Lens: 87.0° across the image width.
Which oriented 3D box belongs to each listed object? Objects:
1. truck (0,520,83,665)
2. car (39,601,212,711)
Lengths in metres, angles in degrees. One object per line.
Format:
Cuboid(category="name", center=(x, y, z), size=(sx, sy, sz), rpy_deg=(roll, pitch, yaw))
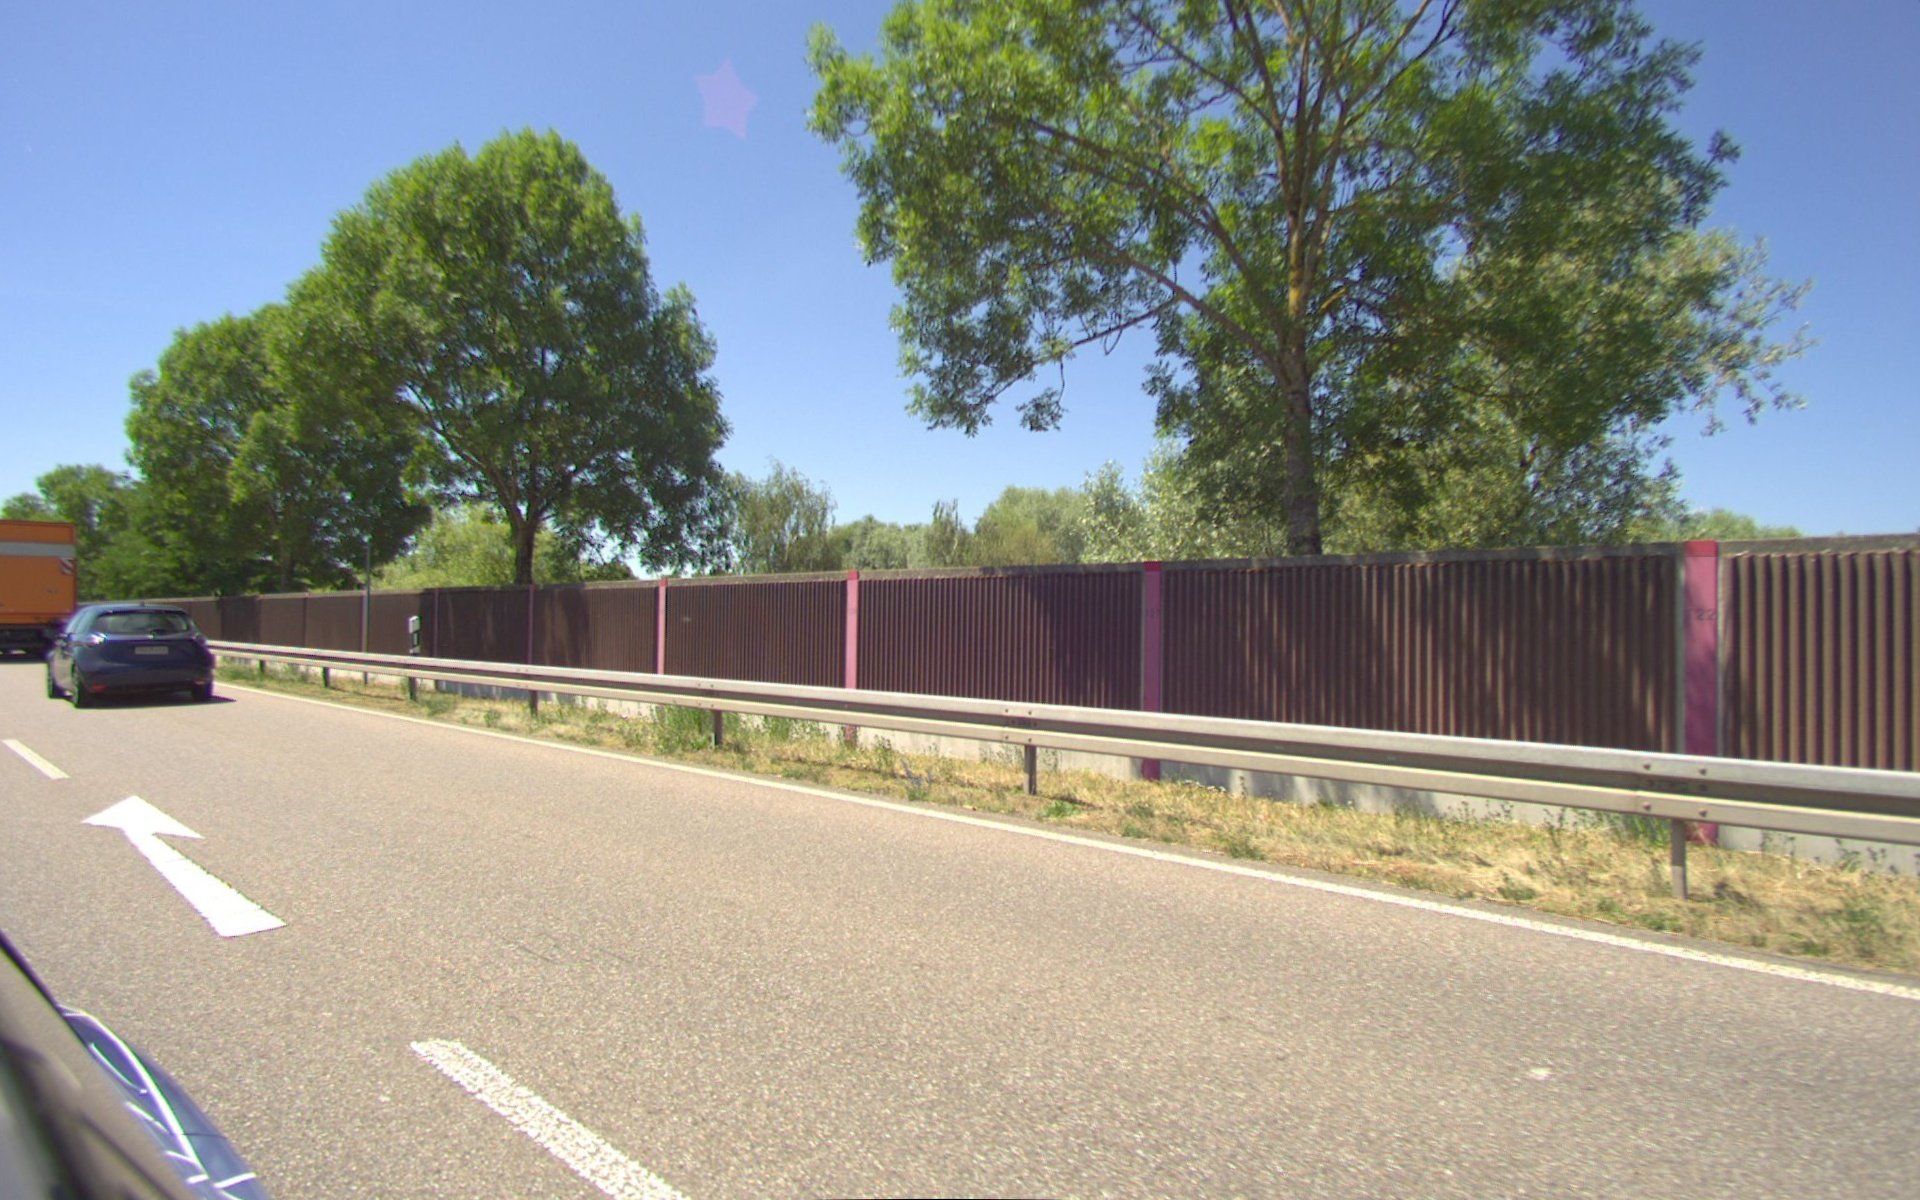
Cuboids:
Cuboid(category="truck", center=(-29.024, -0.185, 30.512), size=(9.321, 3.869, 2.763), rpy_deg=(0, 0, 42))
Cuboid(category="car", center=(-13.627, 0.853, 16.457), size=(3.761, 1.589, 1.605), rpy_deg=(-2, -2, 42))
